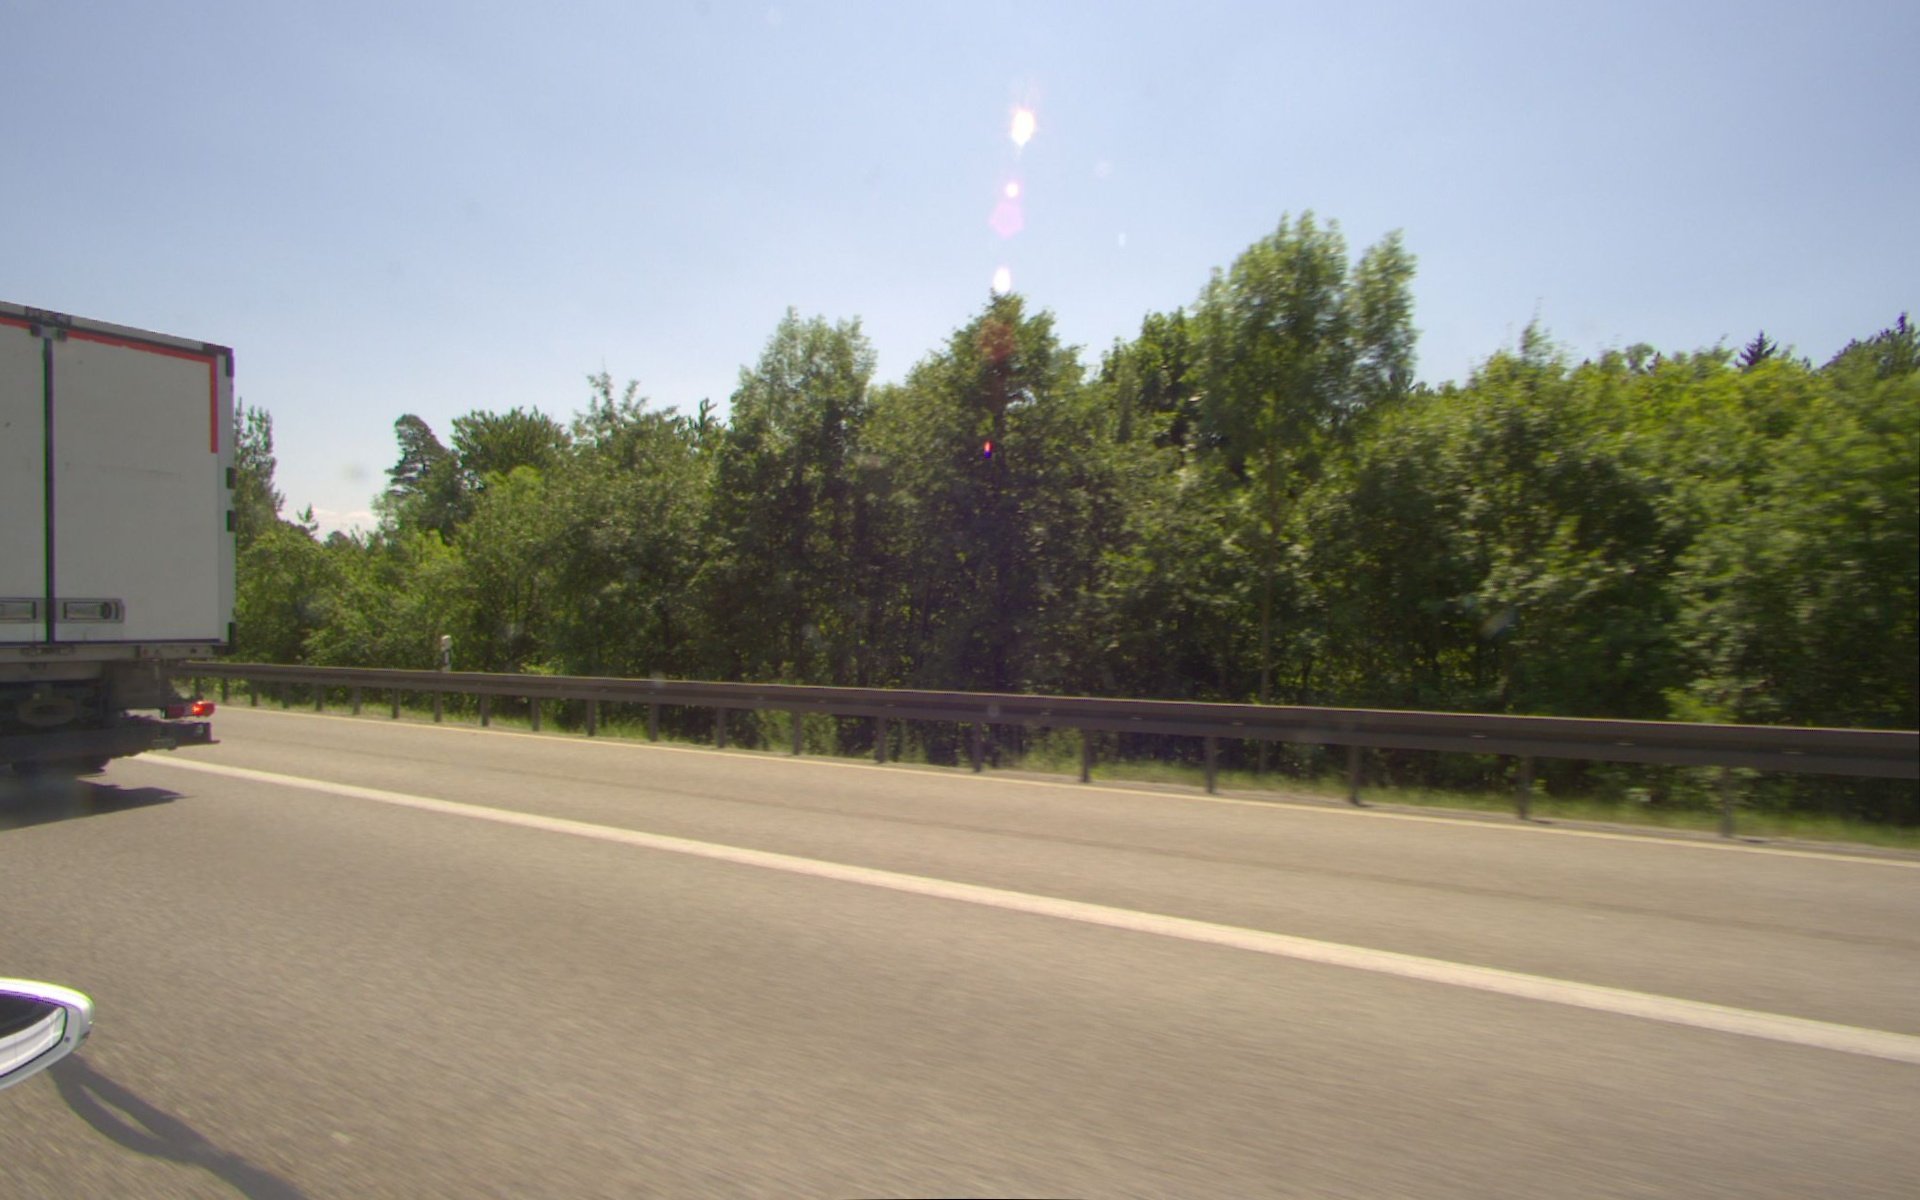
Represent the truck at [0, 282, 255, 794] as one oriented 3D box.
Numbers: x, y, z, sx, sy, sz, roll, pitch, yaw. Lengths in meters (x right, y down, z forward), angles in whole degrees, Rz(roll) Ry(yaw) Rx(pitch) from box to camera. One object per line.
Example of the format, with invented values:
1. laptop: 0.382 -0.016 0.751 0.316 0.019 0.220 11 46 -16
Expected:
1. truck: -11.270 -0.428 10.550 9.640 3.929 2.681 -1 2 32
